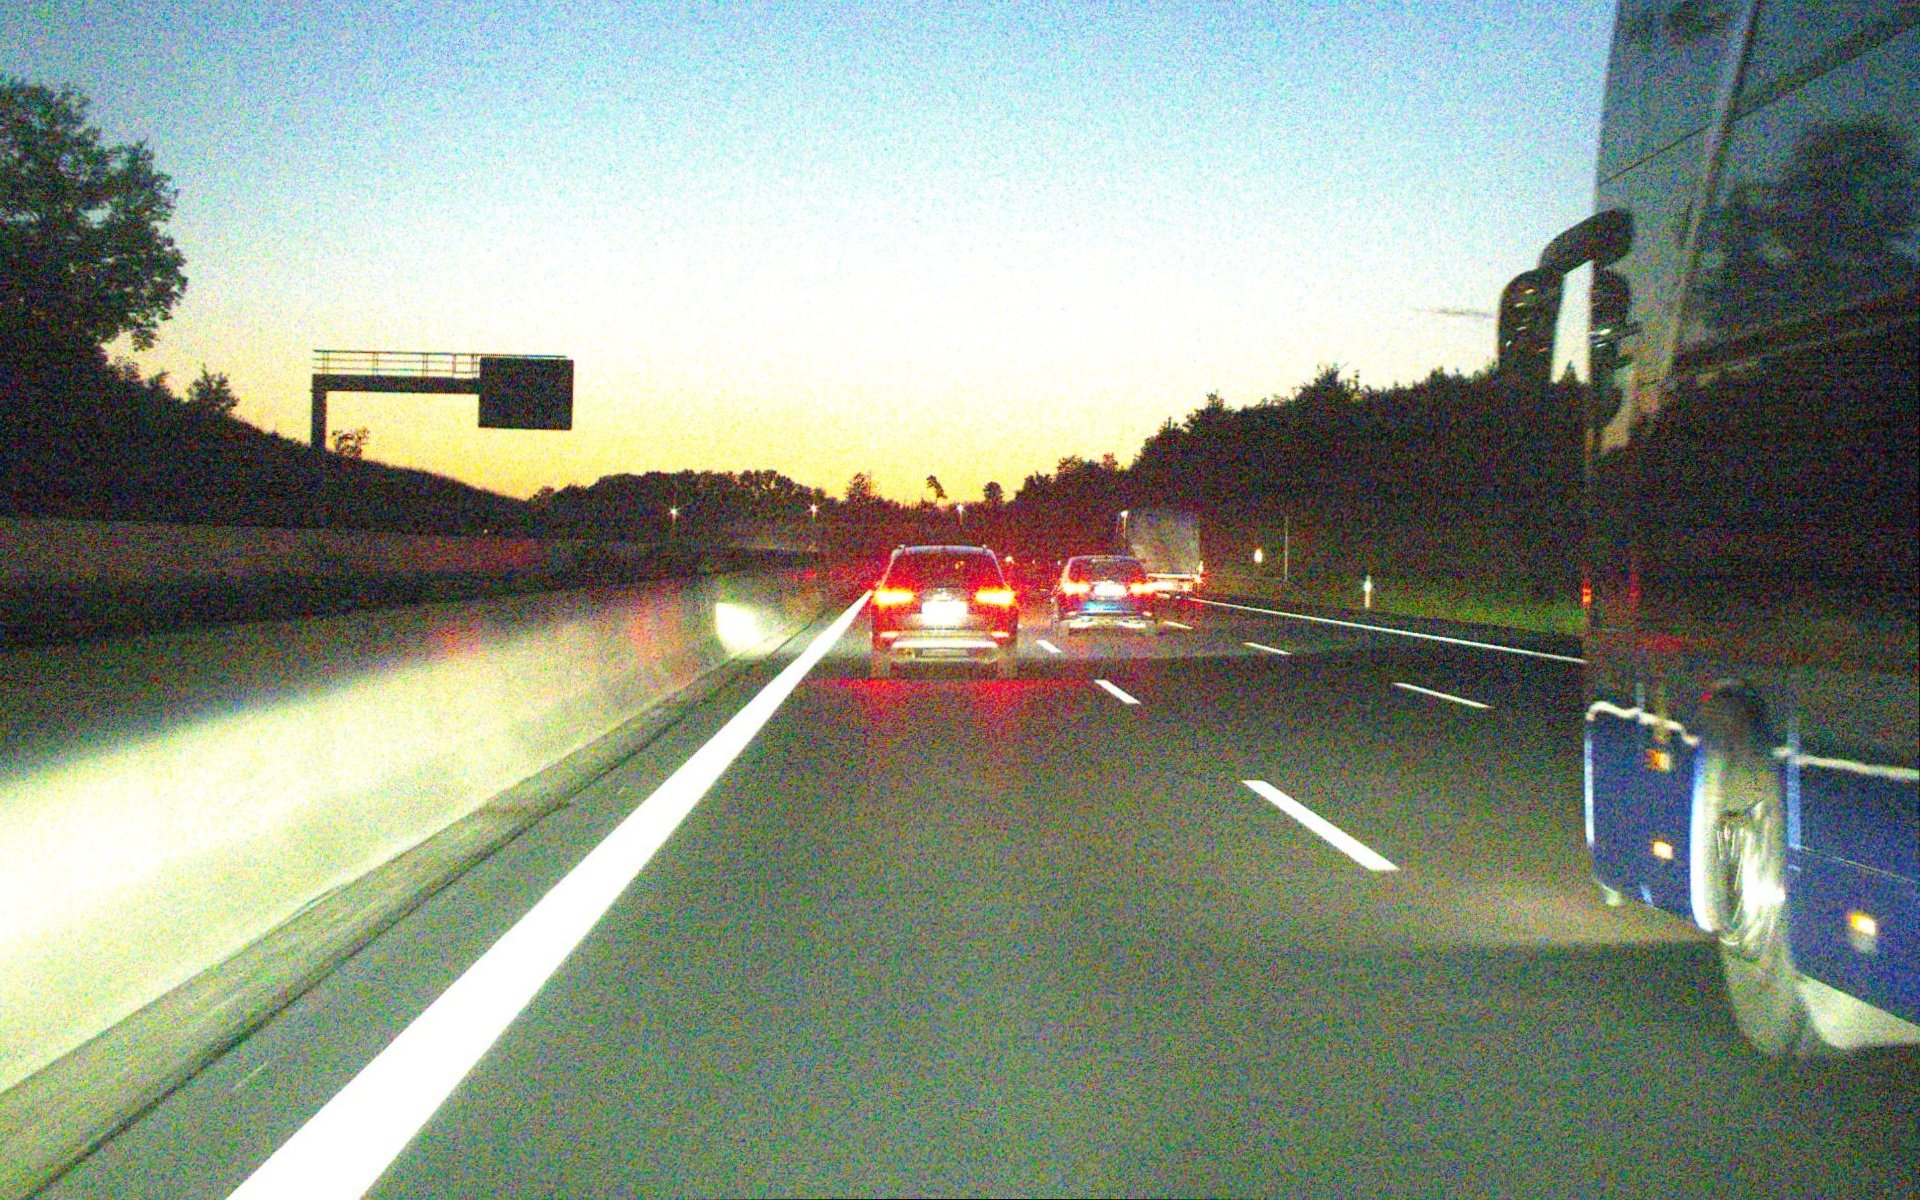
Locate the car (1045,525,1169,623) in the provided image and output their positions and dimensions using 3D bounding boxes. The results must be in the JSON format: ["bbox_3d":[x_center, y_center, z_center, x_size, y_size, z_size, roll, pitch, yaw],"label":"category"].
[{"bbox_3d":[2.676,-0.485,63.266,1.911,1.724,4.000,1,1,-3],"label":"car"}]

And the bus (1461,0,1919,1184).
[{"bbox_3d":[3.564,-0.624,6.701,2.652,3.980,14.703,1,1,-1],"label":"bus"}]

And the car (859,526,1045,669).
[{"bbox_3d":[-0.153,-0.056,42.388,2.105,1.612,4.205,1,1,-2],"label":"car"}]

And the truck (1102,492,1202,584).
[{"bbox_3d":[6.330,-2.063,114.292,2.602,2.865,7.486,2,1,-2],"label":"truck"}]
